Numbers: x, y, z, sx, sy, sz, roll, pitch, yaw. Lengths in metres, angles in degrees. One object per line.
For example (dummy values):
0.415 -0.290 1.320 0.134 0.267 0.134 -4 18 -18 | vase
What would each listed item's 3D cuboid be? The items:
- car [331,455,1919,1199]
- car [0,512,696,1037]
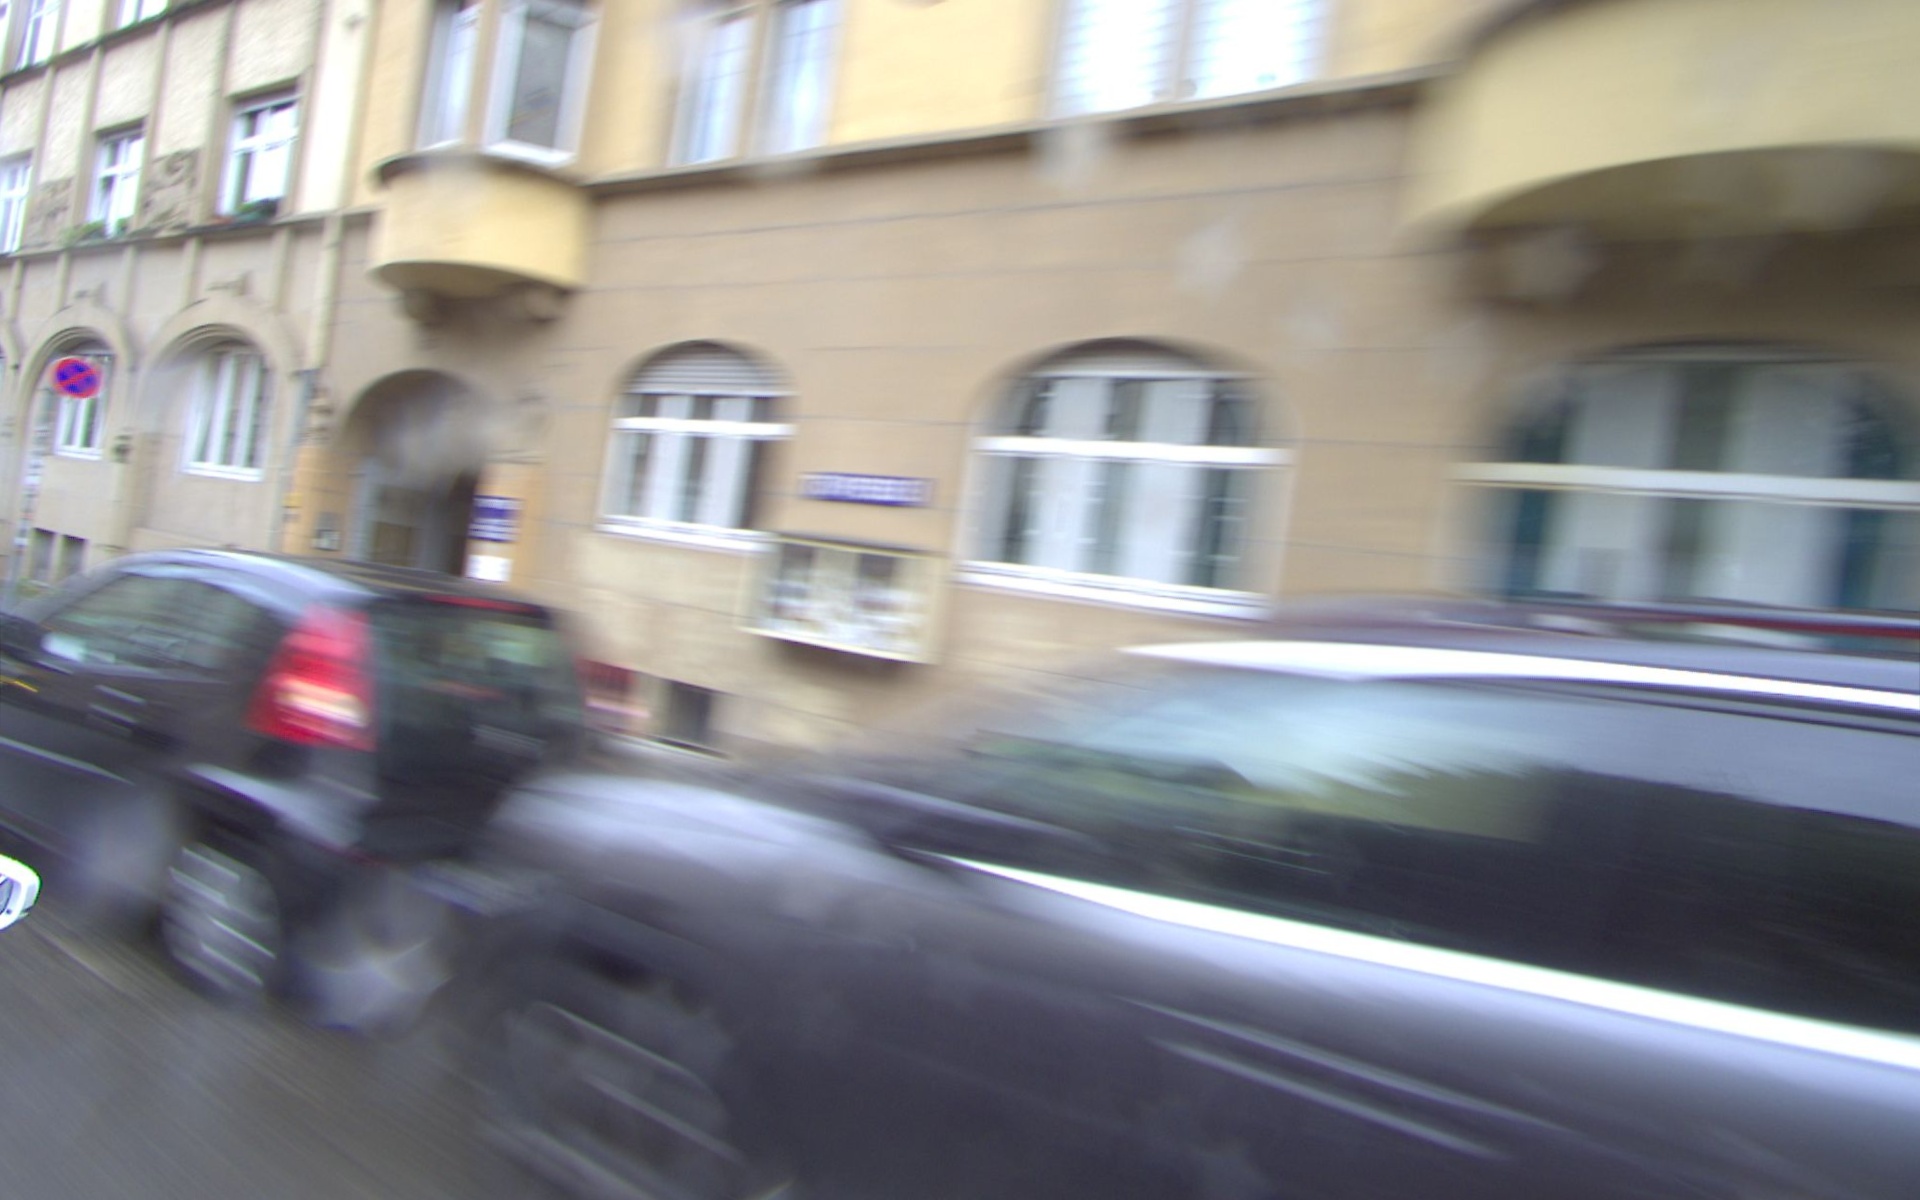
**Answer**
0.854 0.776 2.132 4.473 1.770 1.781 6 -2 32 | car
-3.032 0.516 4.474 3.253 1.456 1.596 6 -3 29 | car
